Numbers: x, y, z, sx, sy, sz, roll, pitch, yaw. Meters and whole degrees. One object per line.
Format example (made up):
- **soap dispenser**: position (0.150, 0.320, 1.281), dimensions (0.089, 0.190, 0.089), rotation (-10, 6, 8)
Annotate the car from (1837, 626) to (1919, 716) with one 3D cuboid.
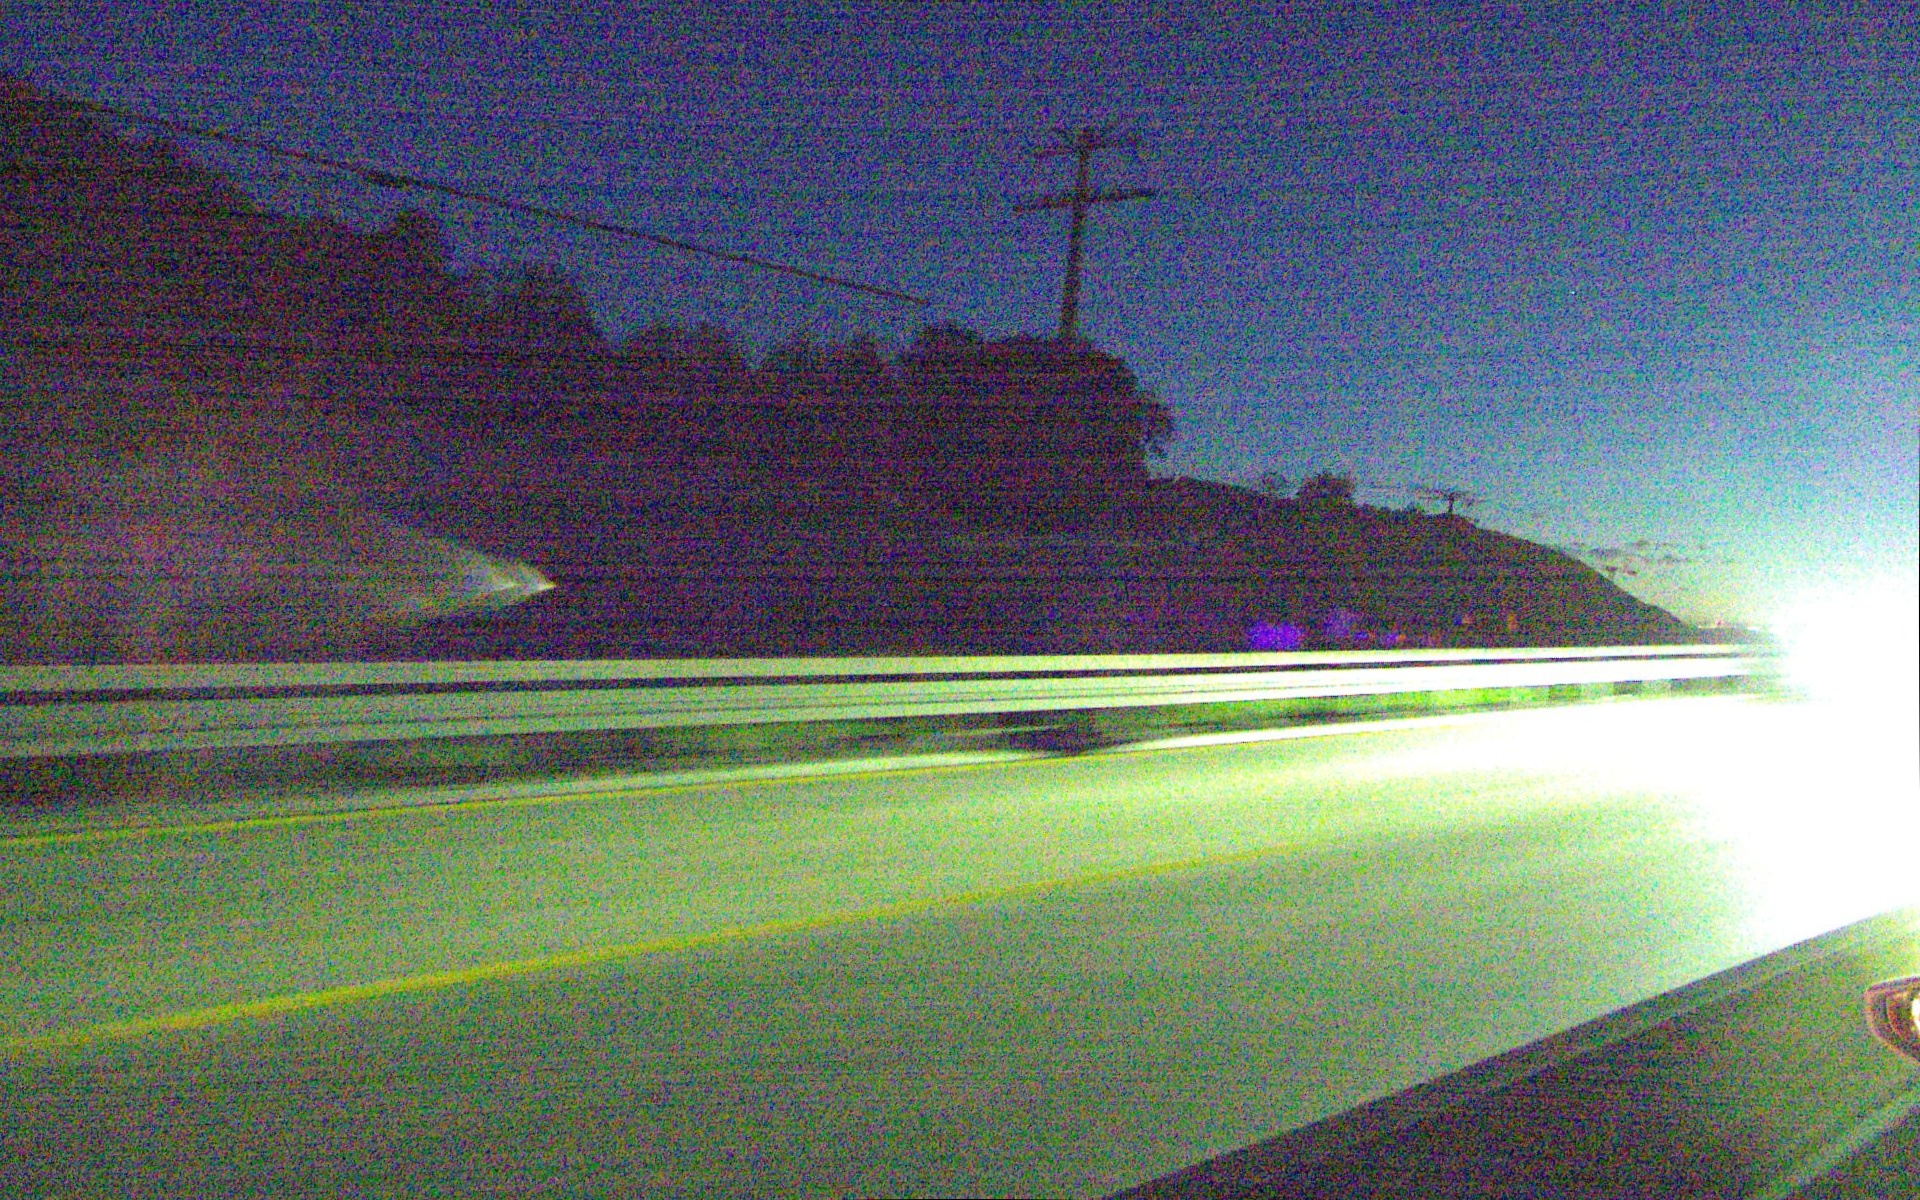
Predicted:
- **car**: position (17.467, 1.190, 17.600), dimensions (4.898, 1.445, 1.902), rotation (1, -1, -33)
